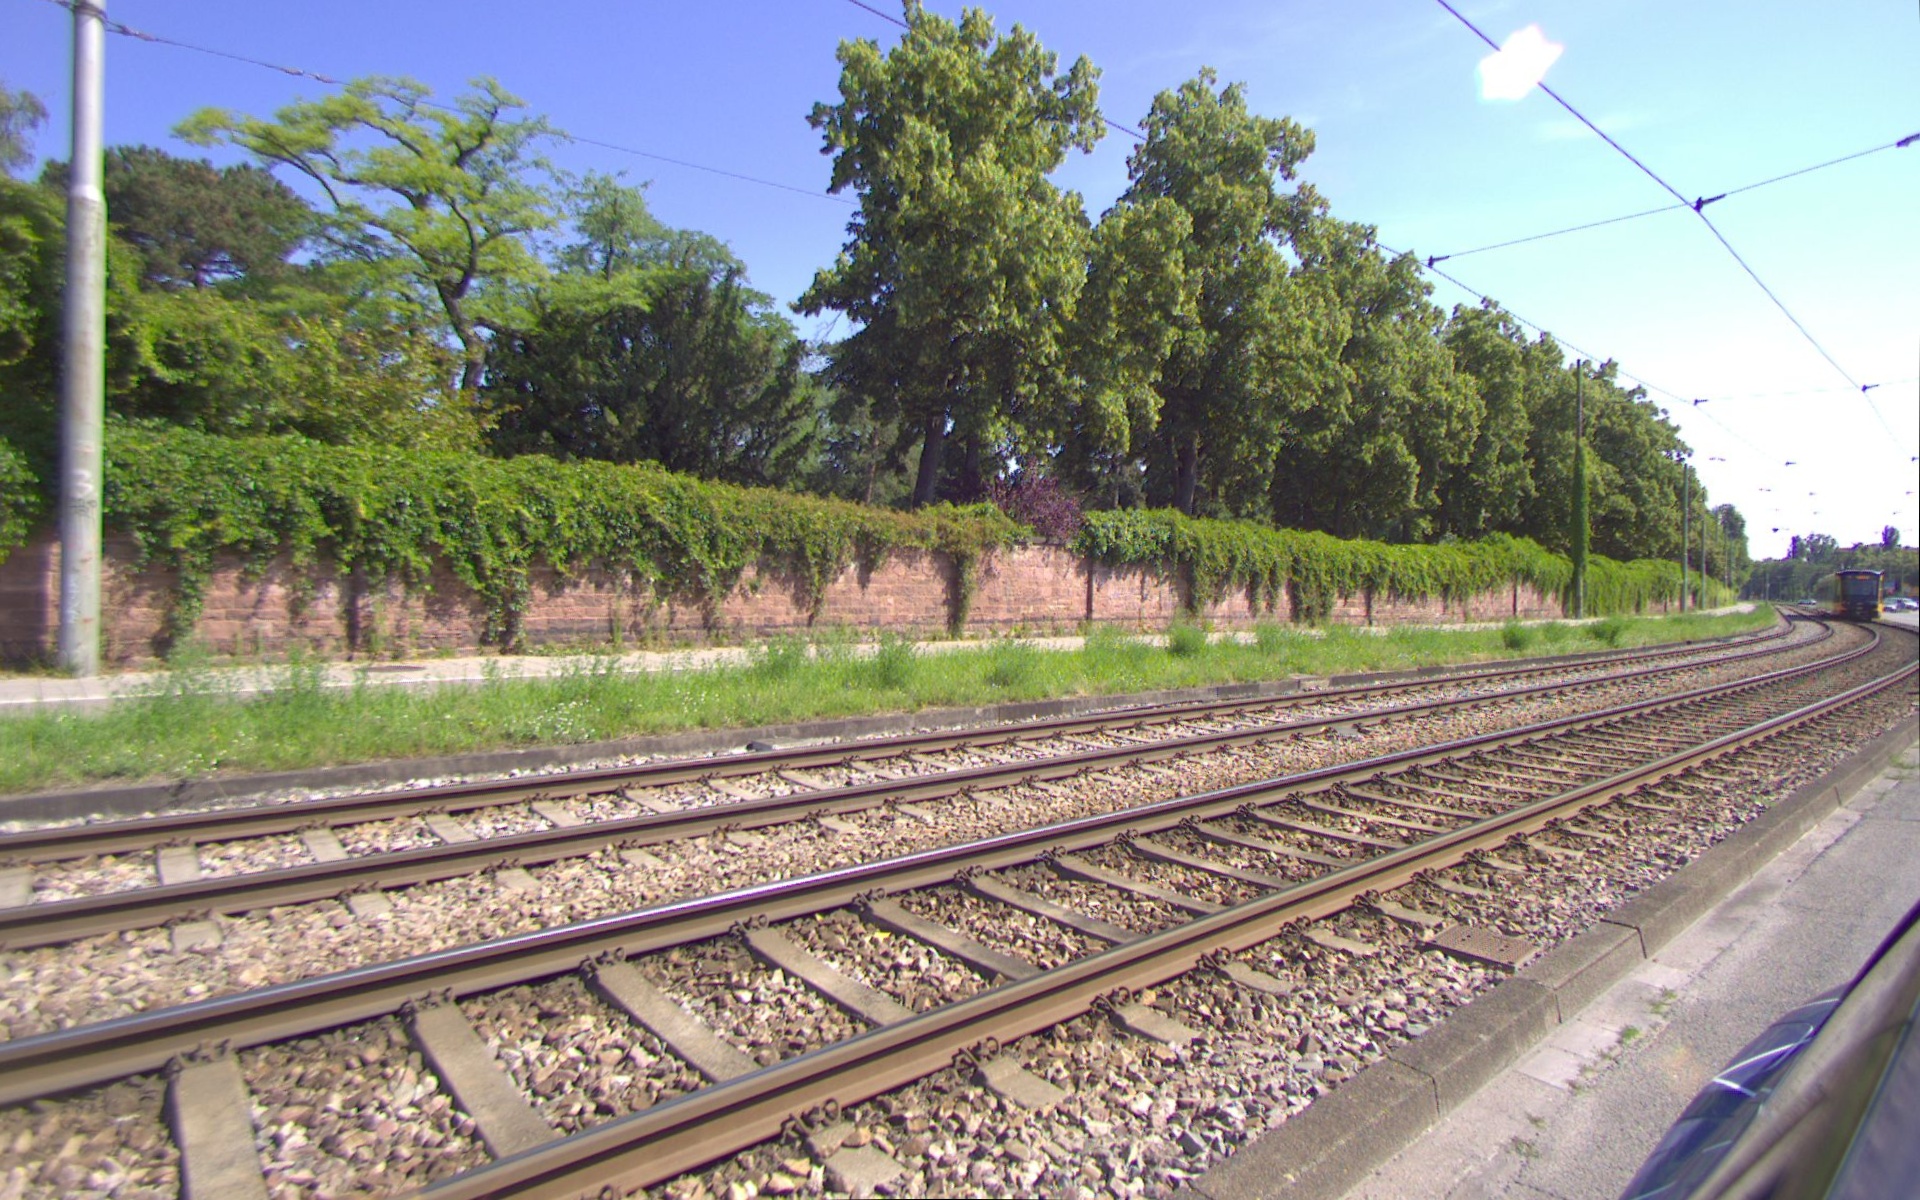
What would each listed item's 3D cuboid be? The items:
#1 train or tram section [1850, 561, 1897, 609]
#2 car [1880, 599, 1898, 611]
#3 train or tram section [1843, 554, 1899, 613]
[{"bbox_3d":[78.314,-1.238,86.735,2.712,3.785,18.589,0,0,42],"label":"train or tram section"},{"bbox_3d":[119.128,0.609,129.765,1.743,1.448,4.963,0,0,43],"label":"car"},{"bbox_3d":[65.774,-1.110,73.038,2.712,3.785,18.589,0,0,42],"label":"train or tram section"}]
